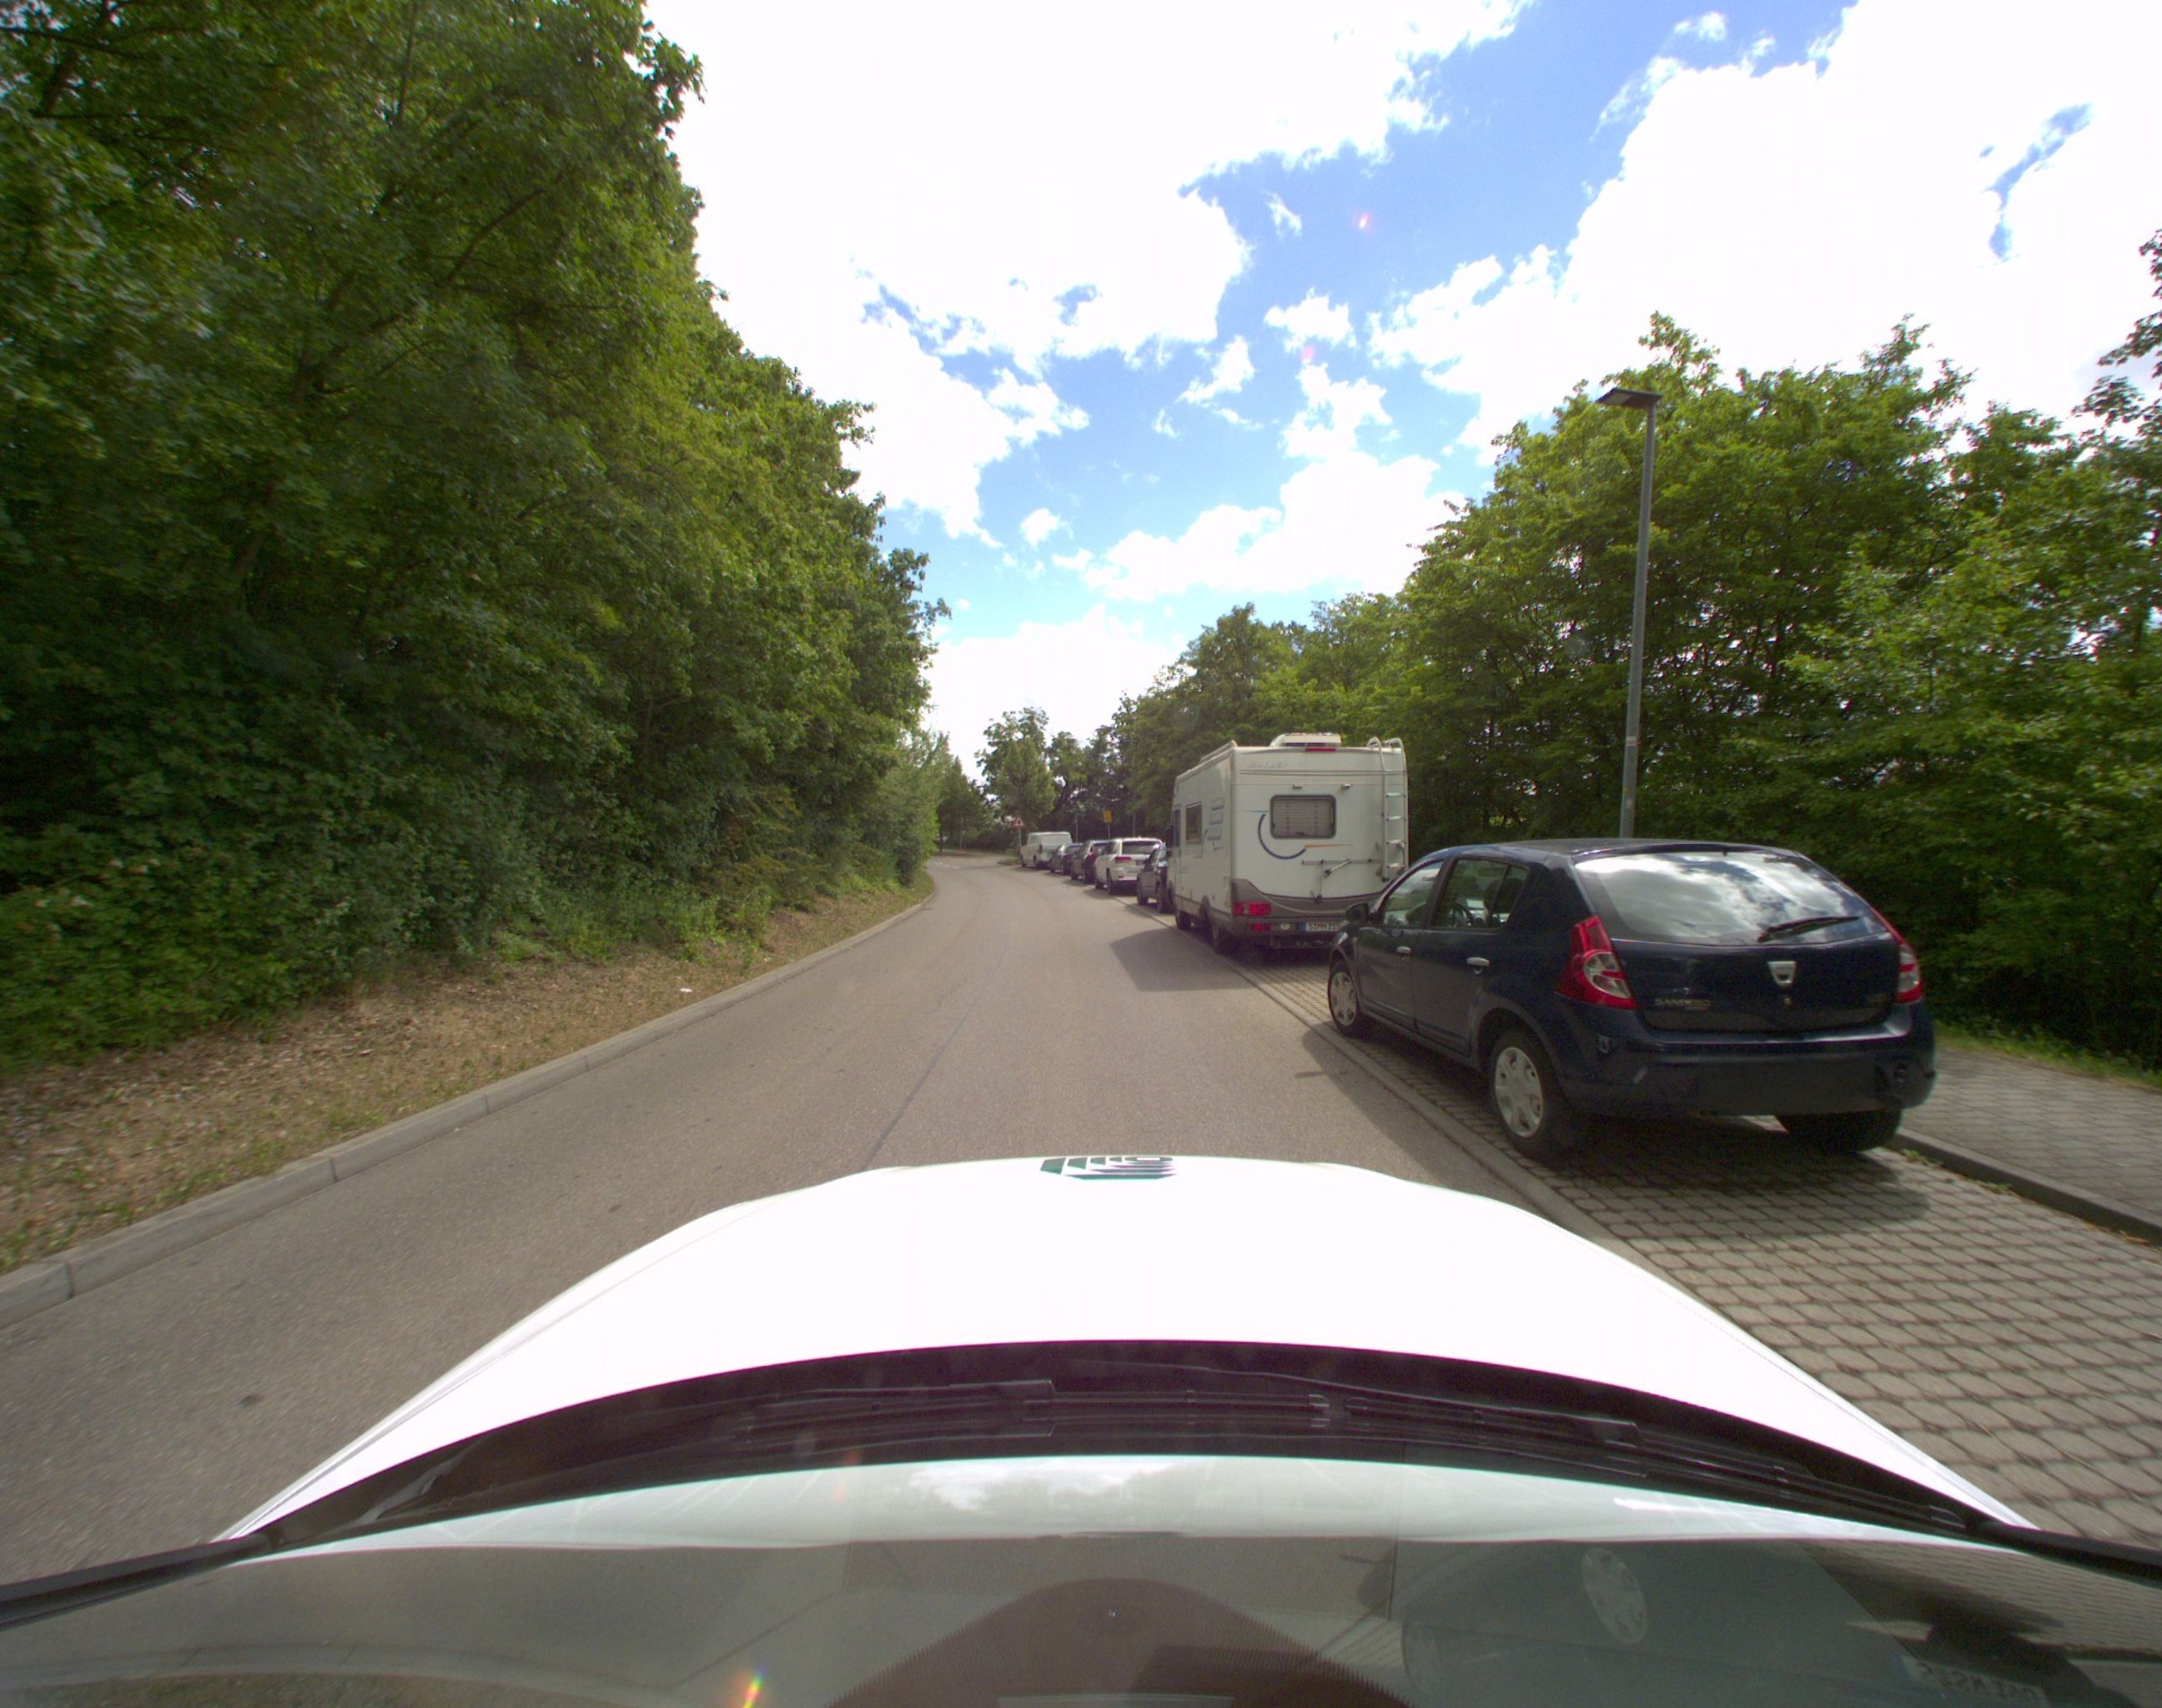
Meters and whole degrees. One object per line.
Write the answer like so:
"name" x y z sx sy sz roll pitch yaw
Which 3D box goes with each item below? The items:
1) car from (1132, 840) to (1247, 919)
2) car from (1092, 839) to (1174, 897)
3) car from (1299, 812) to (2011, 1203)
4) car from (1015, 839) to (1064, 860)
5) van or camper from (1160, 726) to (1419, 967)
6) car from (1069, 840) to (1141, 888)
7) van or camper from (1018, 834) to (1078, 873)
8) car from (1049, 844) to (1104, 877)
"car" 2.444 0.528 19.342 1.709 1.591 3.991 3 0 -6
"car" 1.562 0.368 26.188 1.869 1.689 4.569 0 1 -7
"car" 2.857 0.634 5.238 1.724 1.519 3.886 -1 -1 -2
"car" -3.208 -0.374 62.545 3.540 1.480 1.774 -1 3 -14
"van or camper" 2.810 -0.105 12.836 2.326 2.869 6.146 0 0 -2
"car" 0.862 0.320 32.015 1.993 1.626 4.265 -3 2 -9
"van or camper" -1.894 -0.072 44.314 1.998 1.919 5.237 -2 2 -17
"car" -0.283 0.279 38.649 1.800 1.464 3.982 -1 1 -13
